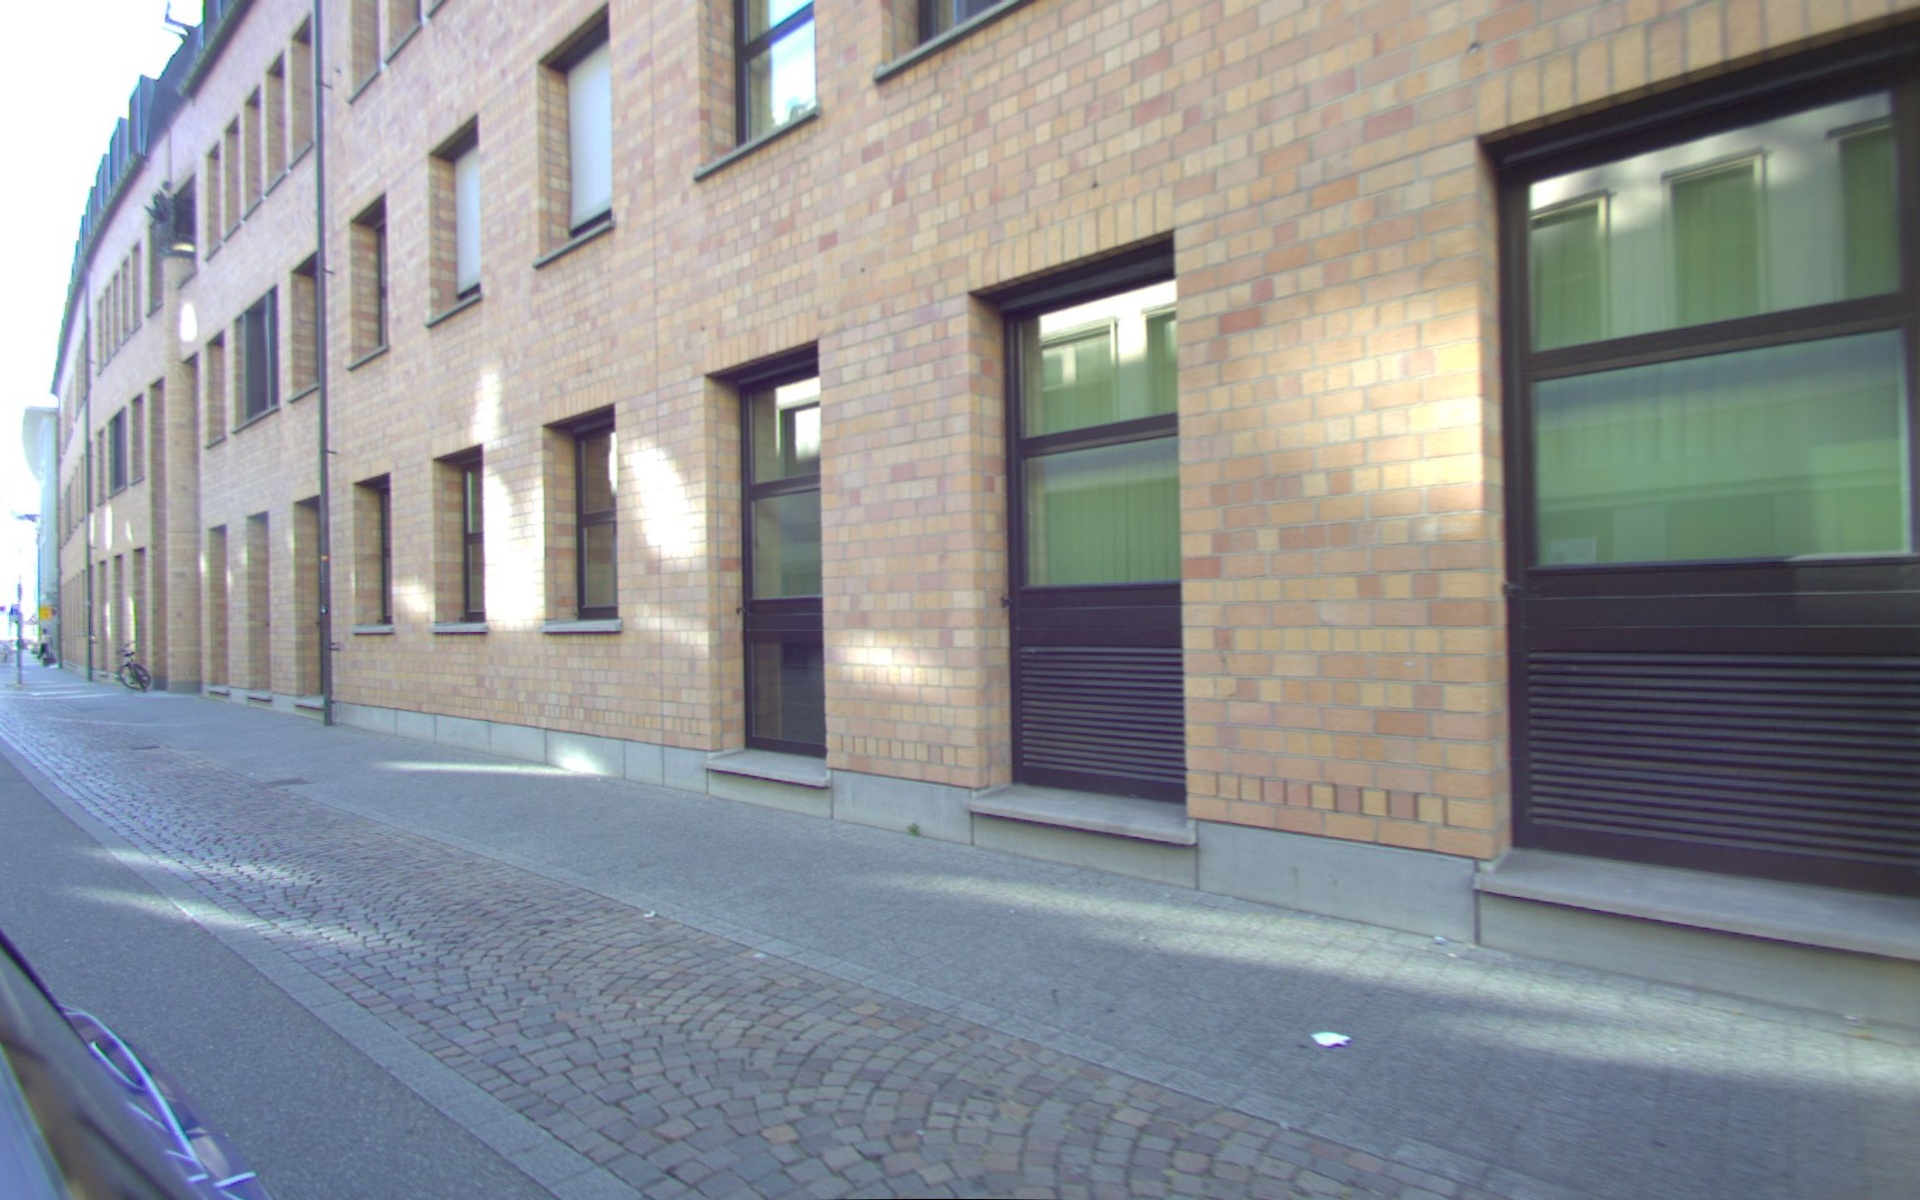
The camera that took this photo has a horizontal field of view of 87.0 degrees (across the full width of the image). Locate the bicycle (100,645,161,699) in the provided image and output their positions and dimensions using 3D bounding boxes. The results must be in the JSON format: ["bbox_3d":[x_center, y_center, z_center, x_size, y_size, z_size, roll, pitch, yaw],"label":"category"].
[{"bbox_3d":[-19.411,1.679,23.668,1.800,1.171,0.626,-3,1,36],"label":"bicycle"}]
